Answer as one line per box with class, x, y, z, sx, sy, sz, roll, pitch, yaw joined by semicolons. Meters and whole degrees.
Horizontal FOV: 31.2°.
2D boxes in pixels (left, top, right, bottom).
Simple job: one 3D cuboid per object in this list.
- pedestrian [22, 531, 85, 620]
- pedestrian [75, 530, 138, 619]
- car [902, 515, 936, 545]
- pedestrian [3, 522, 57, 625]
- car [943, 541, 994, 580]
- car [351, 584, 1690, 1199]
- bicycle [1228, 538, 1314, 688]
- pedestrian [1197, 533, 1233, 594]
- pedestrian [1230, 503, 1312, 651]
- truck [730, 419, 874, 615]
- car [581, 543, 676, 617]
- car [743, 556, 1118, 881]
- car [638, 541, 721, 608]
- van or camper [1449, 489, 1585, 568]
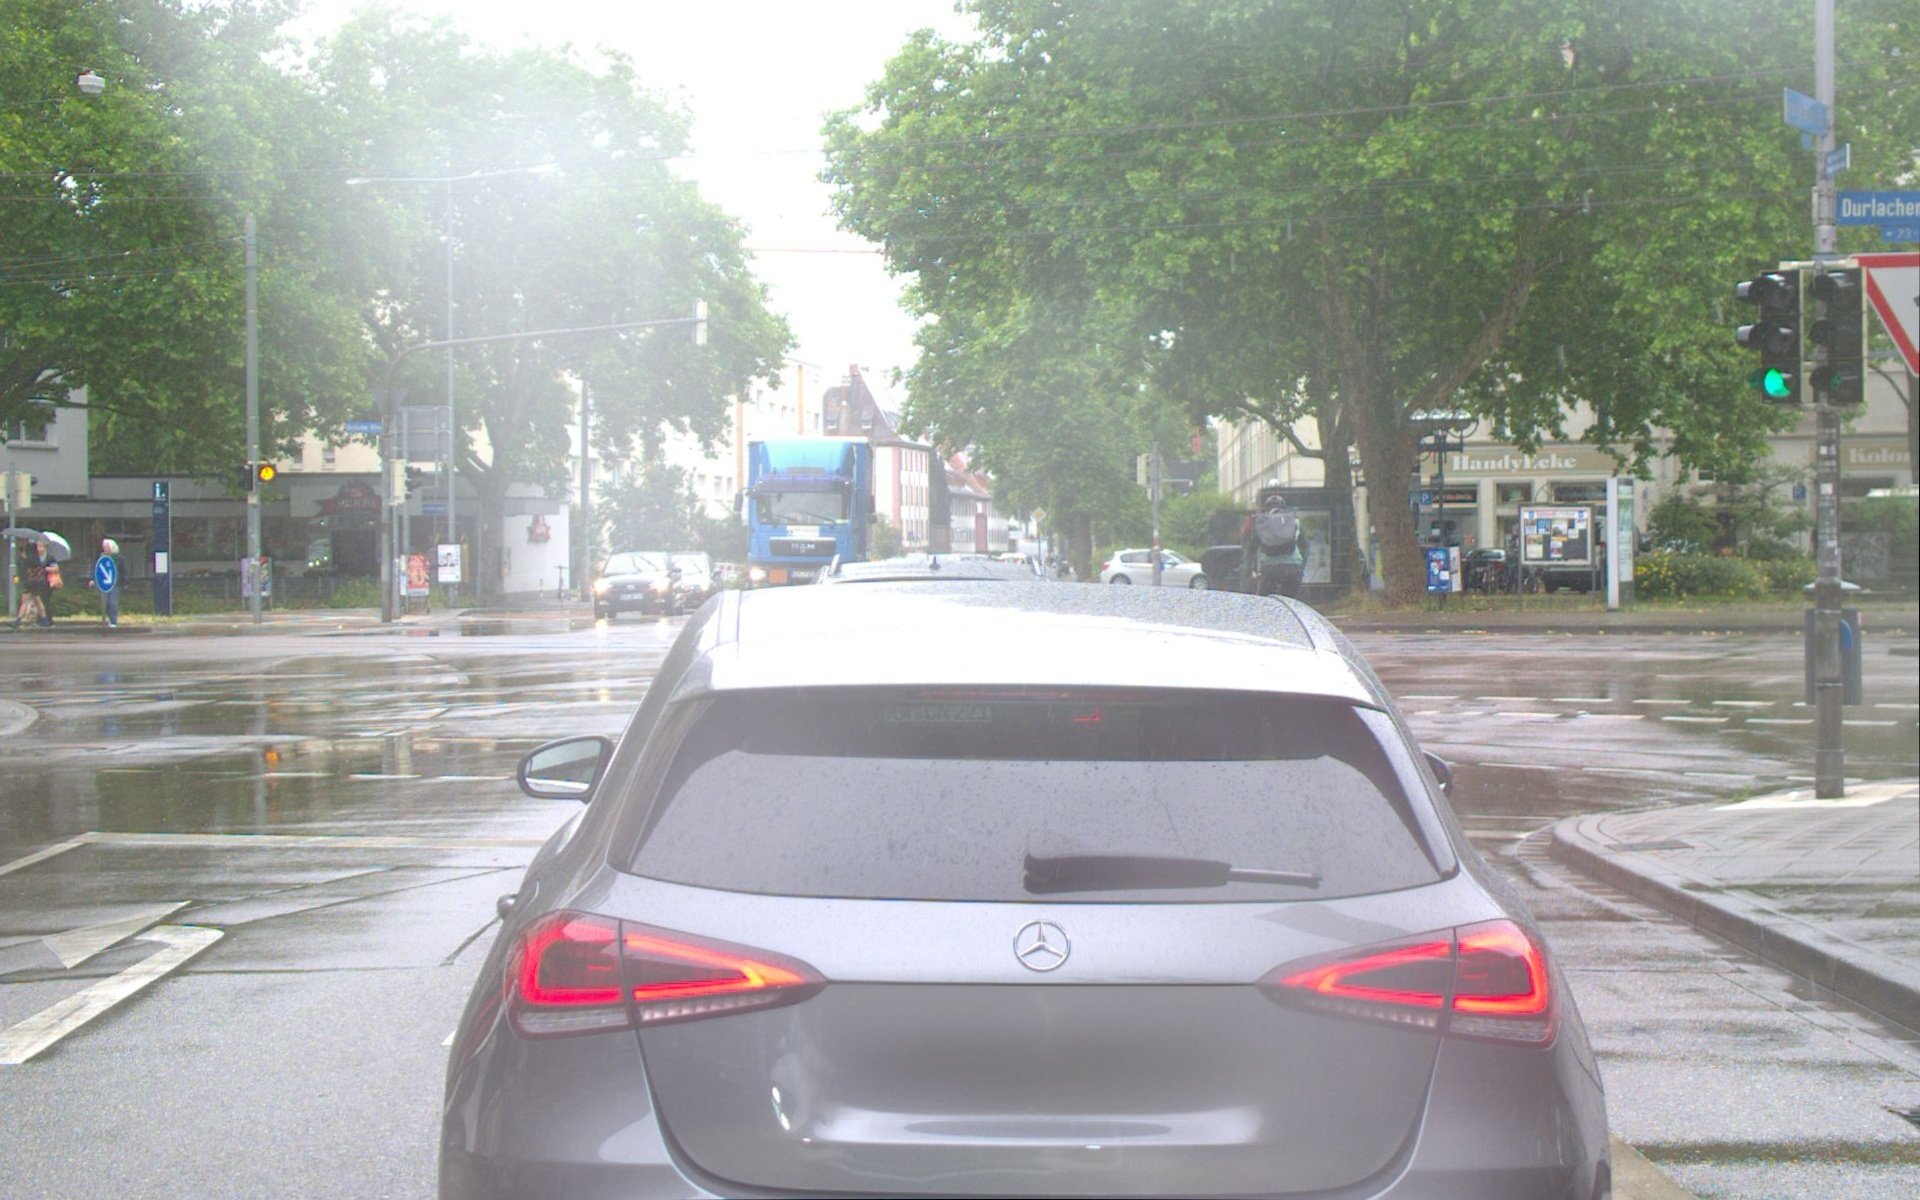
pedestrian;-17.088;-0.473;64.801;0.792;1.643;0.816;-1;1;15
pedestrian;-16.021;-0.474;64.543;0.835;1.643;0.755;-1;1;15
car;-2.618;-4.427;218.635;1.890;1.830;4.000;-1;1;3
pedestrian;-16.862;-0.480;62.335;0.677;1.832;0.640;-2;1;-42
car;0.349;-1.624;143.039;1.993;1.568;4.000;-1;1;-2
car;0.058;0.689;6.379;1.791;1.368;3.507;1;1;-1
bicycle;3.035;0.102;33.360;0.749;1.372;2.706;-1;1;6
pedestrian;7.062;-1.008;95.325;0.663;1.663;0.718;-1;1;-42
pedestrian;3.013;-0.230;33.254;0.744;1.393;1.047;-1;1;6
truck;-3.420;-1.813;76.786;2.845;4.011;10.317;-1;1;-1
car;-7.225;-0.457;75.197;1.743;1.541;3.779;-1;1;-1
car;-0.150;0.492;17.031;1.607;1.368;4.000;-1;1;-1
car;-6.818;-0.644;83.901;1.726;1.541;4.340;-1;1;-1
van or camper;16.436;-2.085;101.234;2.400;2.224;5.422;0;1;27
